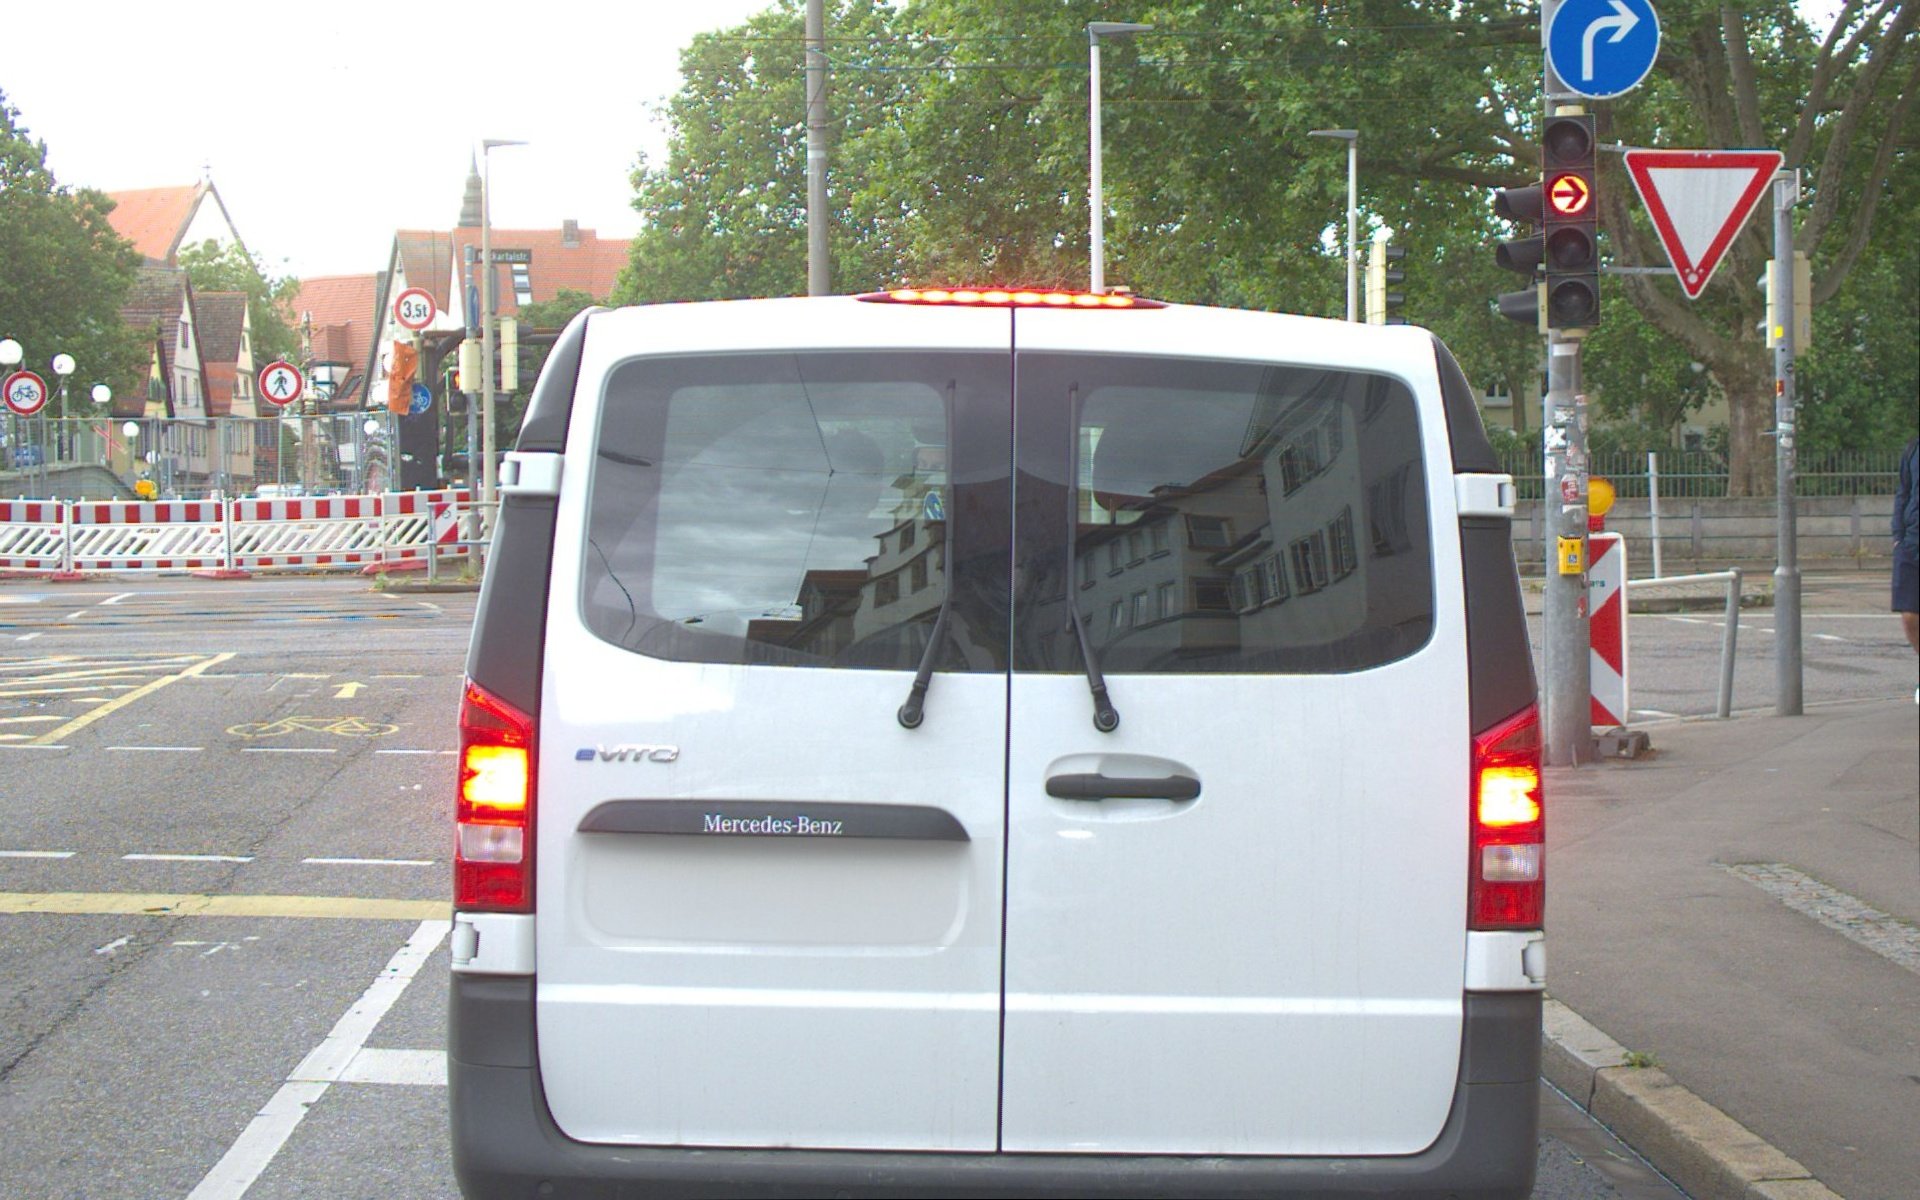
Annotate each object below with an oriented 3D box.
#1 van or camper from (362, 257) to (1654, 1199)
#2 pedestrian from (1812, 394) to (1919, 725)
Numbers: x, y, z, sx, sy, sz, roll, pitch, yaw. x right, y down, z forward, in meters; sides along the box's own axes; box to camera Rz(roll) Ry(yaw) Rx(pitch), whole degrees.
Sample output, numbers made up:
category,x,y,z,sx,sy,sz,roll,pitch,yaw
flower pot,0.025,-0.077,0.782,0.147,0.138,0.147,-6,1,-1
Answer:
category,x,y,z,sx,sy,sz,roll,pitch,yaw
van or camper,-0.066,0.349,7.429,1.937,1.918,4.442,1,3,-4
pedestrian,5.598,-0.252,19.814,1.149,1.850,0.679,-3,2,-30
